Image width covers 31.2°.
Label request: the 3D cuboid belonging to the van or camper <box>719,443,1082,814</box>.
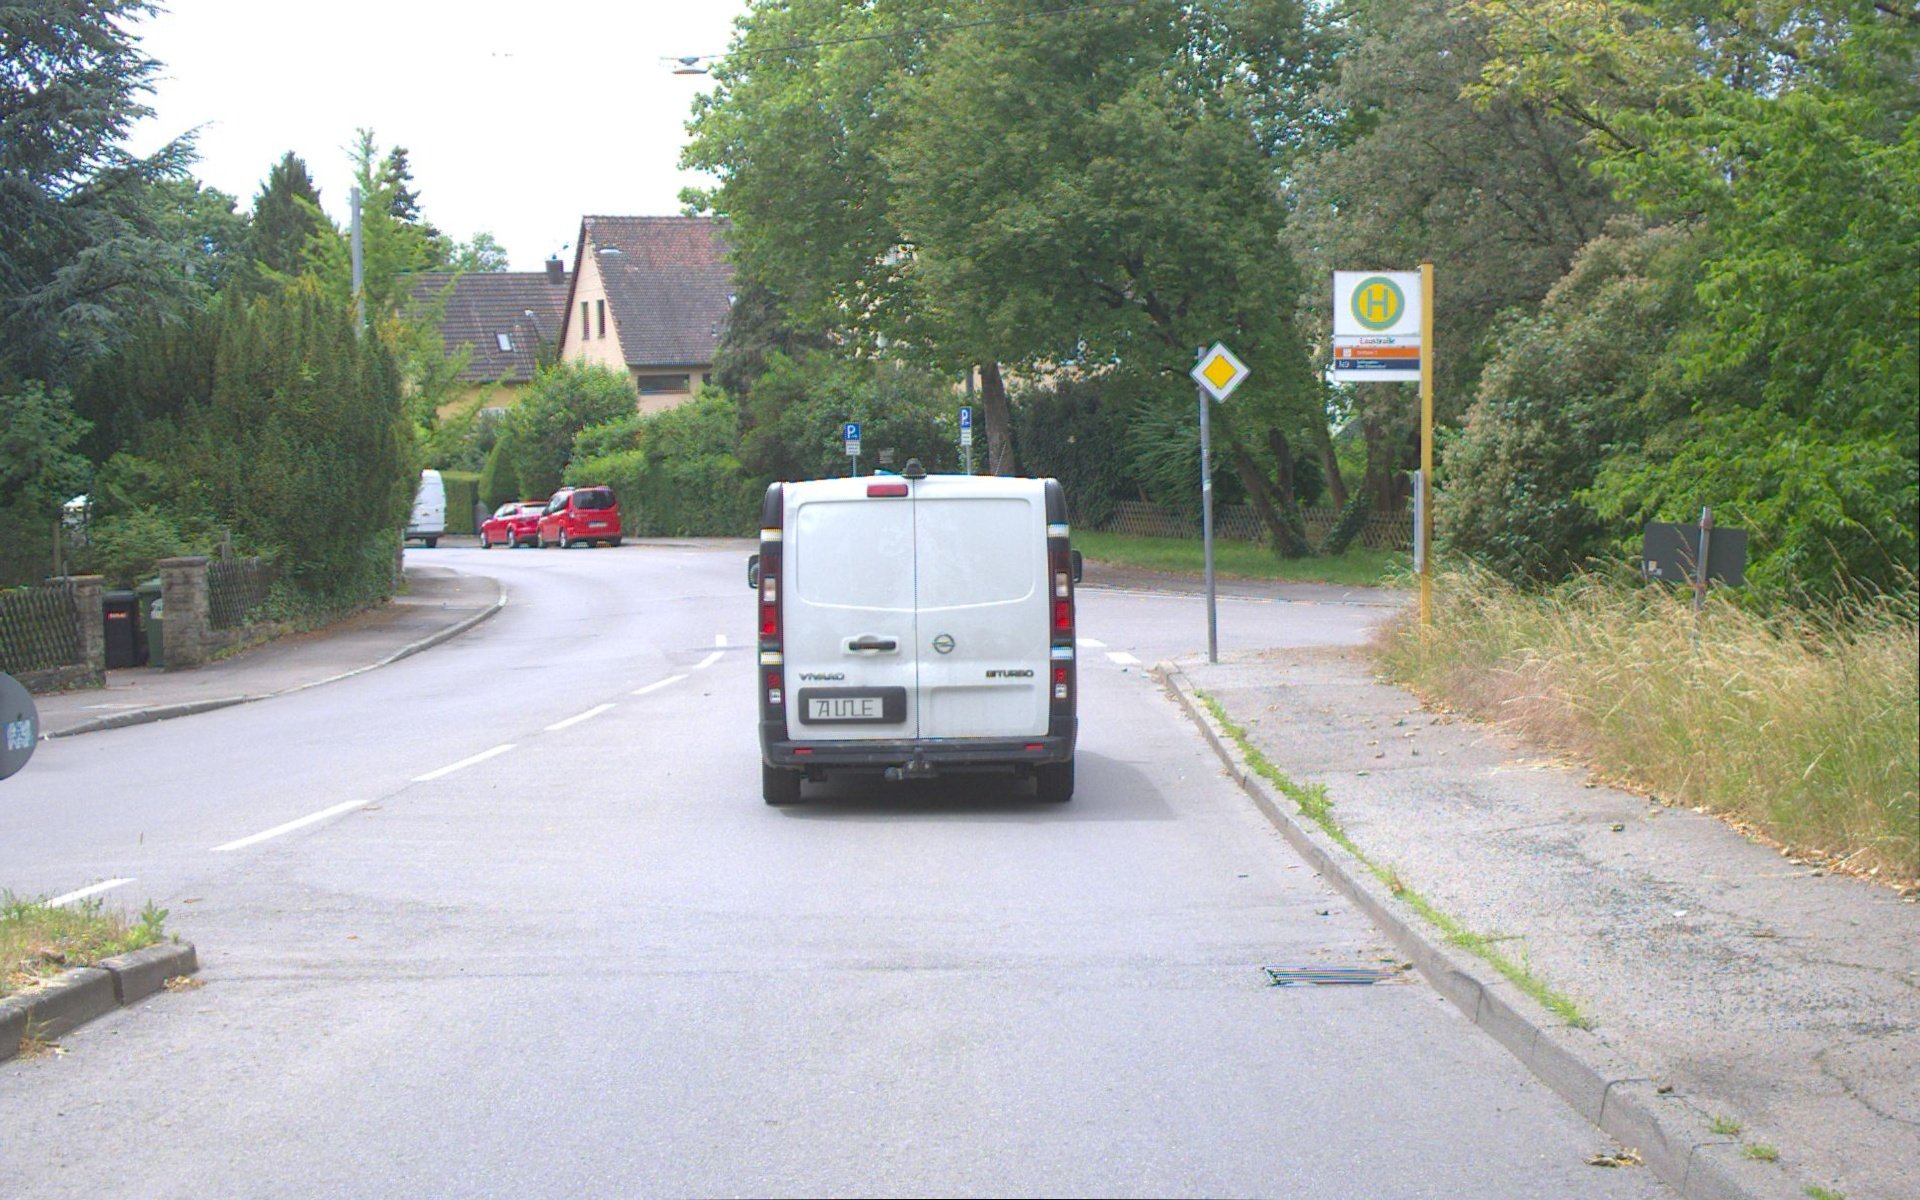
[{"bbox_3d":[-0.250,0.050,21.658,1.924,2.006,4.829,0,3,3],"label":"van or camper"}]

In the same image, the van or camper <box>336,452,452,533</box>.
[{"bbox_3d":[-19.518,-3.718,118.272,2.066,2.665,6.330,-2,3,-27],"label":"van or camper"}]

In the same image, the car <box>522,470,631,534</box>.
[{"bbox_3d":[-11.254,-2.872,100.699,1.760,1.791,4.950,-2,2,-23],"label":"car"}]

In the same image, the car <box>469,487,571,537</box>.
[{"bbox_3d":[-13.552,-2.707,105.754,1.712,1.462,4.269,-2,2,-27],"label":"car"}]
